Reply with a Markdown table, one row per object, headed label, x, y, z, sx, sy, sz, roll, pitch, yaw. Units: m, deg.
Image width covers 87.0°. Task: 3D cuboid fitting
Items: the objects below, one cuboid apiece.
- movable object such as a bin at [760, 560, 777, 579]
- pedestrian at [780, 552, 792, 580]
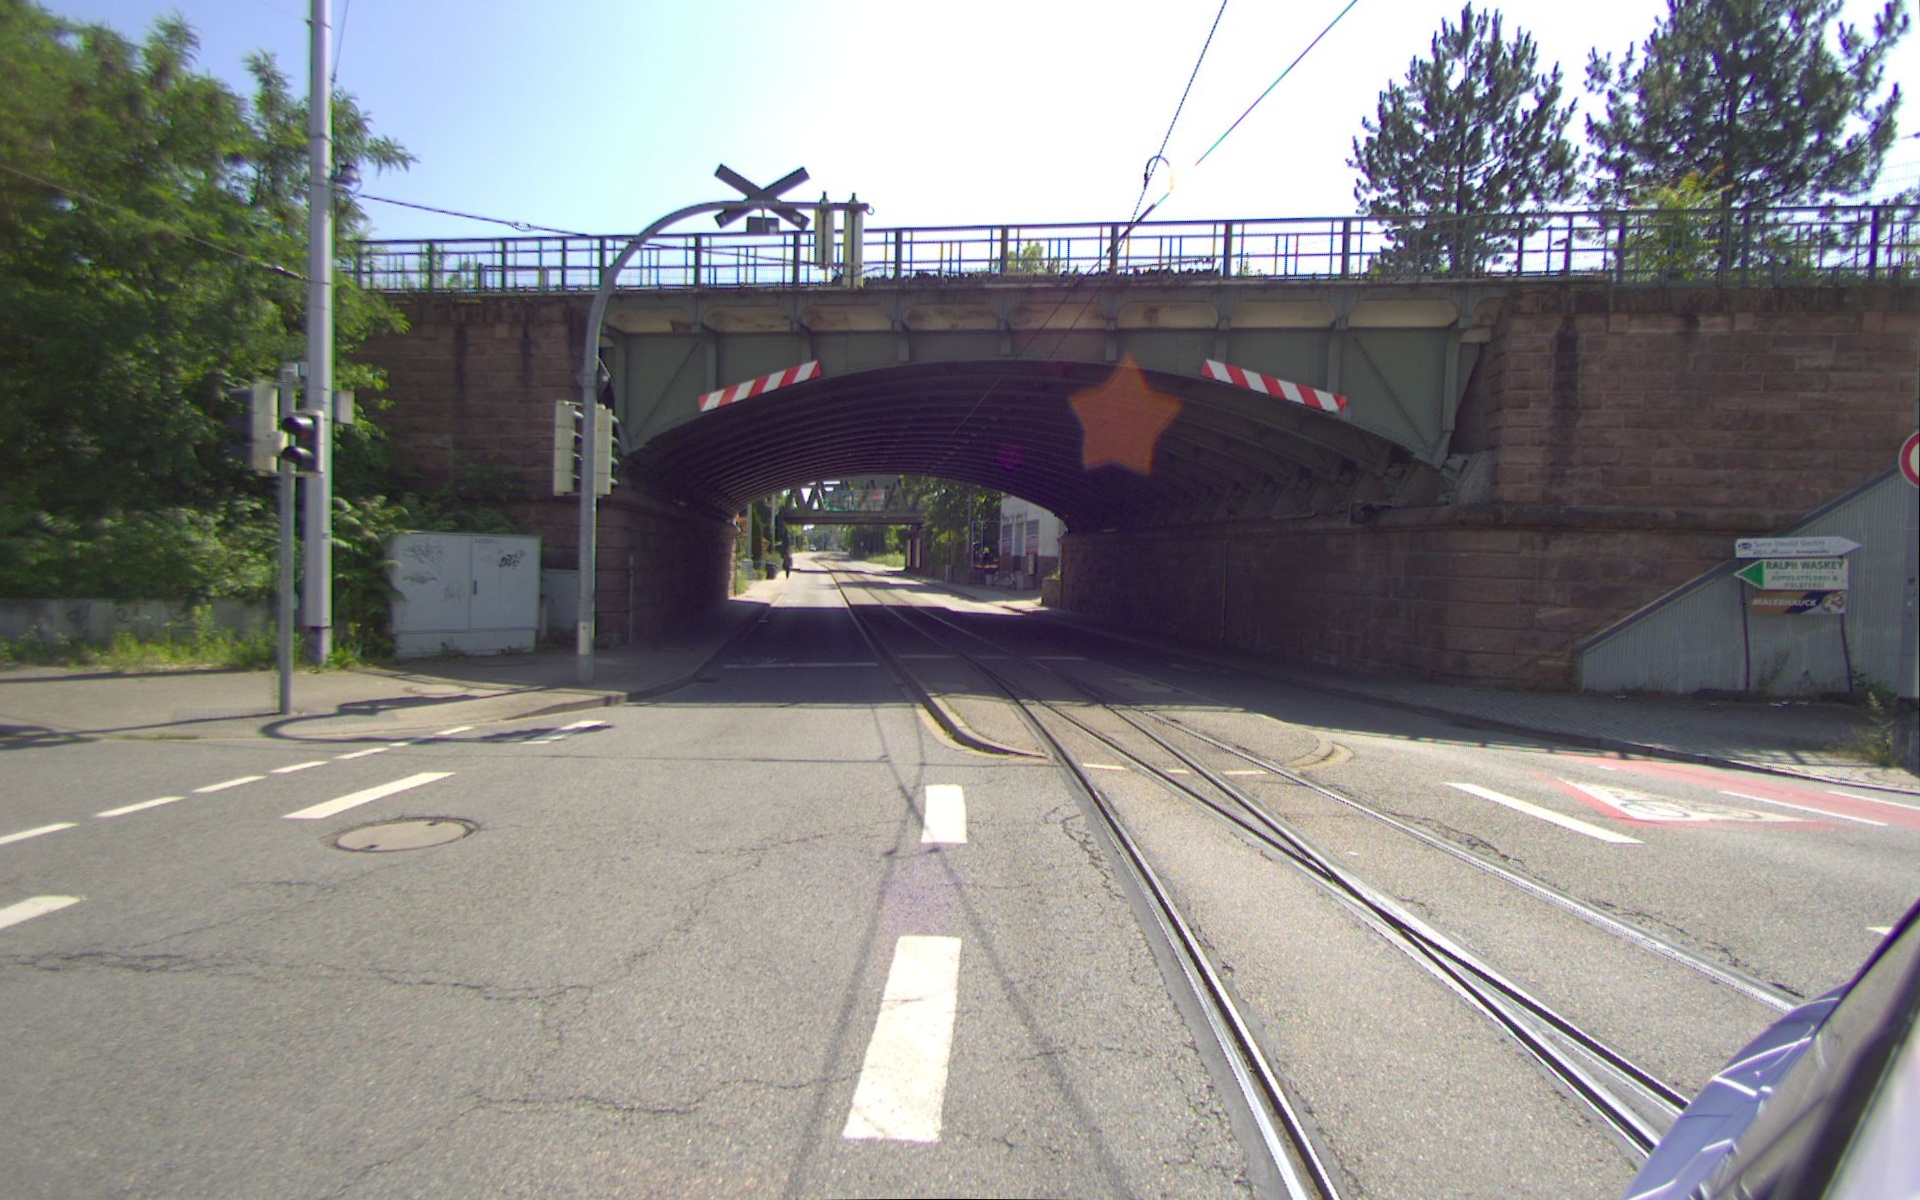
| label | x | y | z | sx | sy | sz | roll | pitch | yaw |
| --- | --- | --- | --- | --- | --- | --- | --- | --- | --- |
| movable object such as a bin | -12.275 | -1.947 | 64.817 | 1.018 | 1.177 | 0.976 | 1 | 1 | -10 |
| pedestrian | -11.685 | -2.317 | 68.011 | 0.727 | 1.839 | 0.853 | 2 | 1 | -10 |
